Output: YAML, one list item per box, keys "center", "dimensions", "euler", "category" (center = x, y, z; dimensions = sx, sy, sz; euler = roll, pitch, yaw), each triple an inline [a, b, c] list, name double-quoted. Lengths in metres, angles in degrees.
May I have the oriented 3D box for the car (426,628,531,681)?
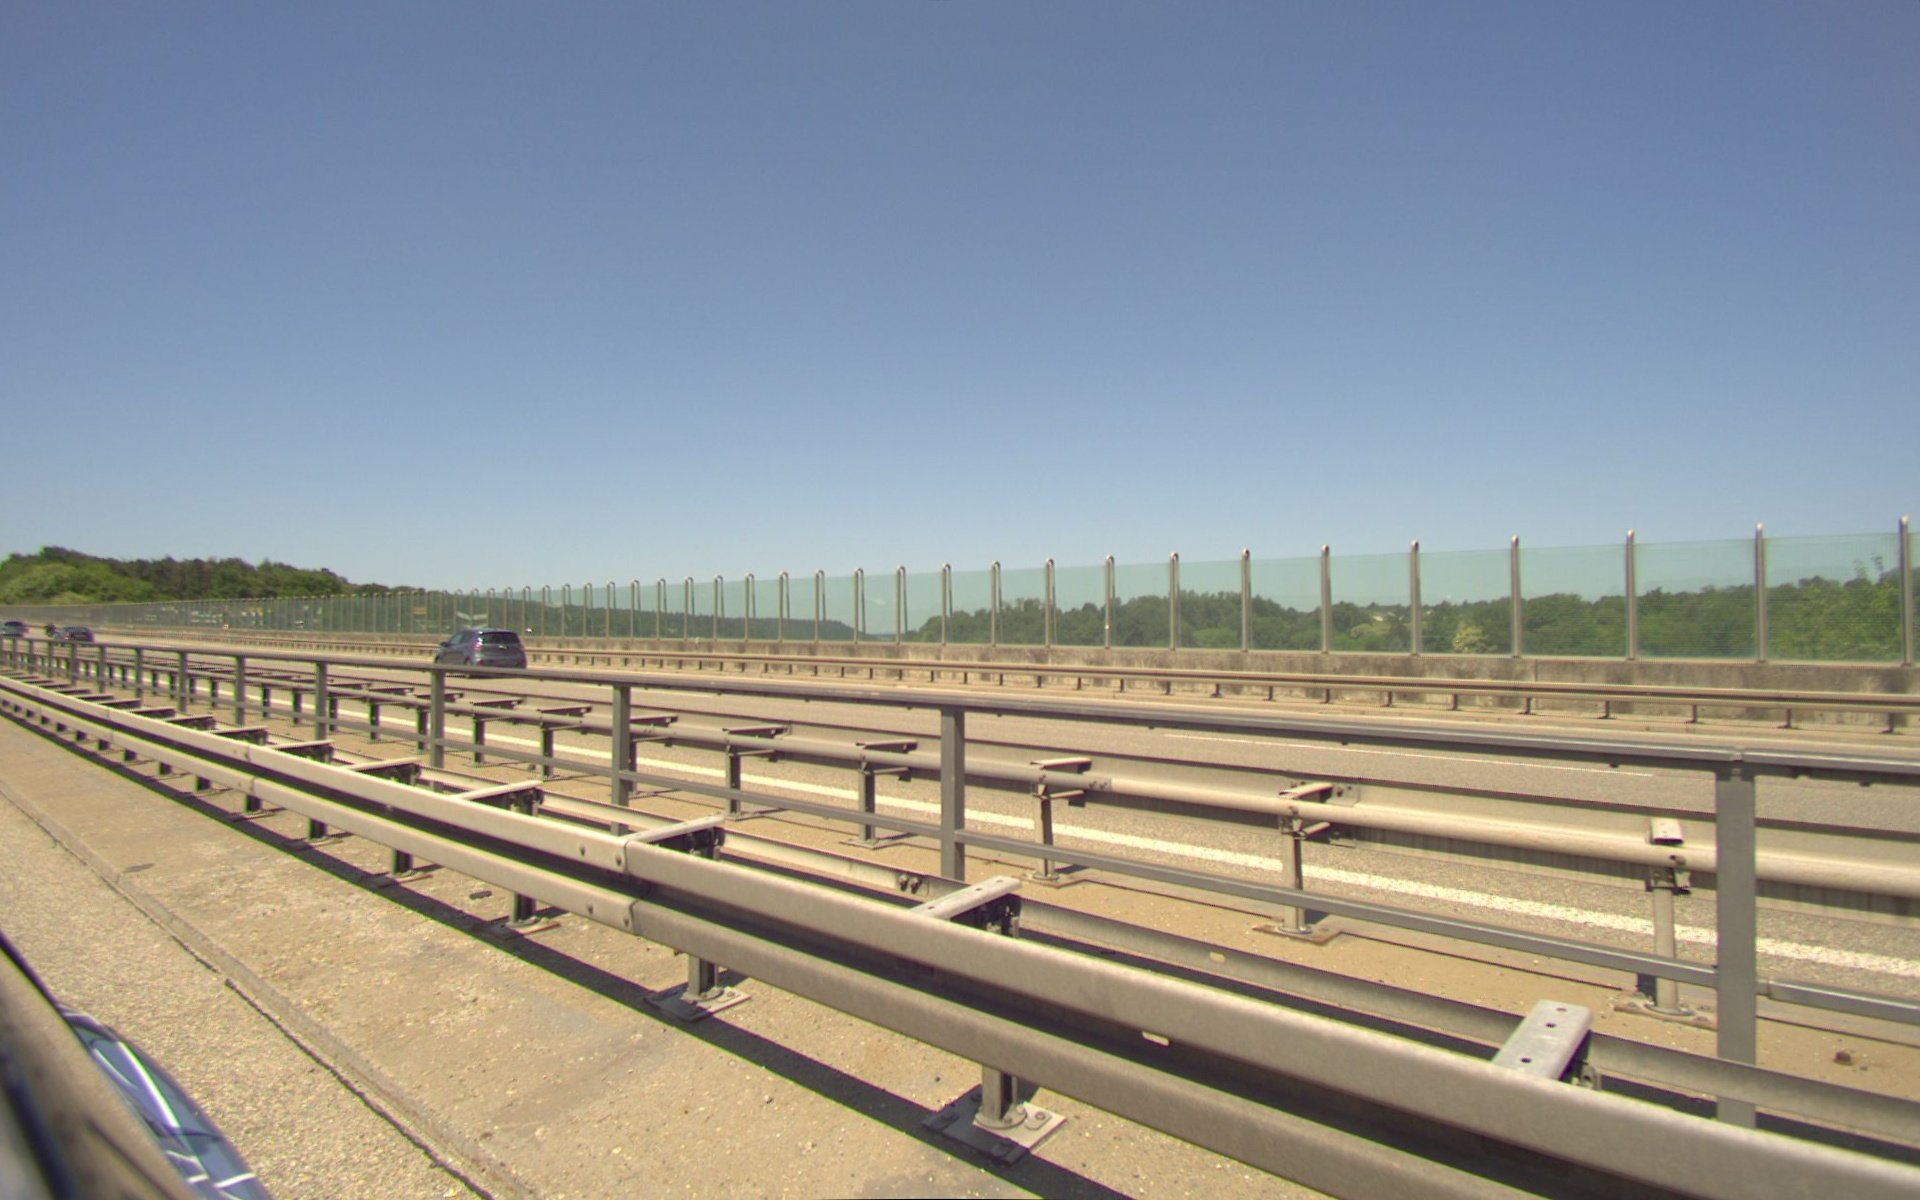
- center: [-14.763, 1.622, 30.973]
  dimensions: [3.540, 1.473, 1.635]
  euler: [-1, -2, 41]
  category: "car"

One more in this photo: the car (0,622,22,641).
- center: [-88.176, 2.888, 93.480]
  dimensions: [4.152, 1.715, 1.763]
  euler: [-1, -2, 41]
  category: "car"

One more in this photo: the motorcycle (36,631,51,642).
- center: [-94.831, 3.804, 104.727]
  dimensions: [2.648, 1.079, 0.782]
  euler: [-1, -2, 41]
  category: "motorcycle"

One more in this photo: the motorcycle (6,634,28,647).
- center: [-115.493, 4.949, 123.928]
  dimensions: [3.380, 1.488, 1.471]
  euler: [-1, 1, 40]
  category: "motorcycle"

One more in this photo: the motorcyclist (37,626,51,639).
- center: [-94.544, 3.363, 104.468]
  dimensions: [1.286, 1.293, 0.910]
  euler: [-1, 1, 41]
  category: "motorcyclist"

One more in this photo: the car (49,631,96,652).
- center: [-59.236, 2.753, 67.554]
  dimensions: [4.268, 1.330, 1.742]
  euler: [-1, -3, 41]
  category: "car"
